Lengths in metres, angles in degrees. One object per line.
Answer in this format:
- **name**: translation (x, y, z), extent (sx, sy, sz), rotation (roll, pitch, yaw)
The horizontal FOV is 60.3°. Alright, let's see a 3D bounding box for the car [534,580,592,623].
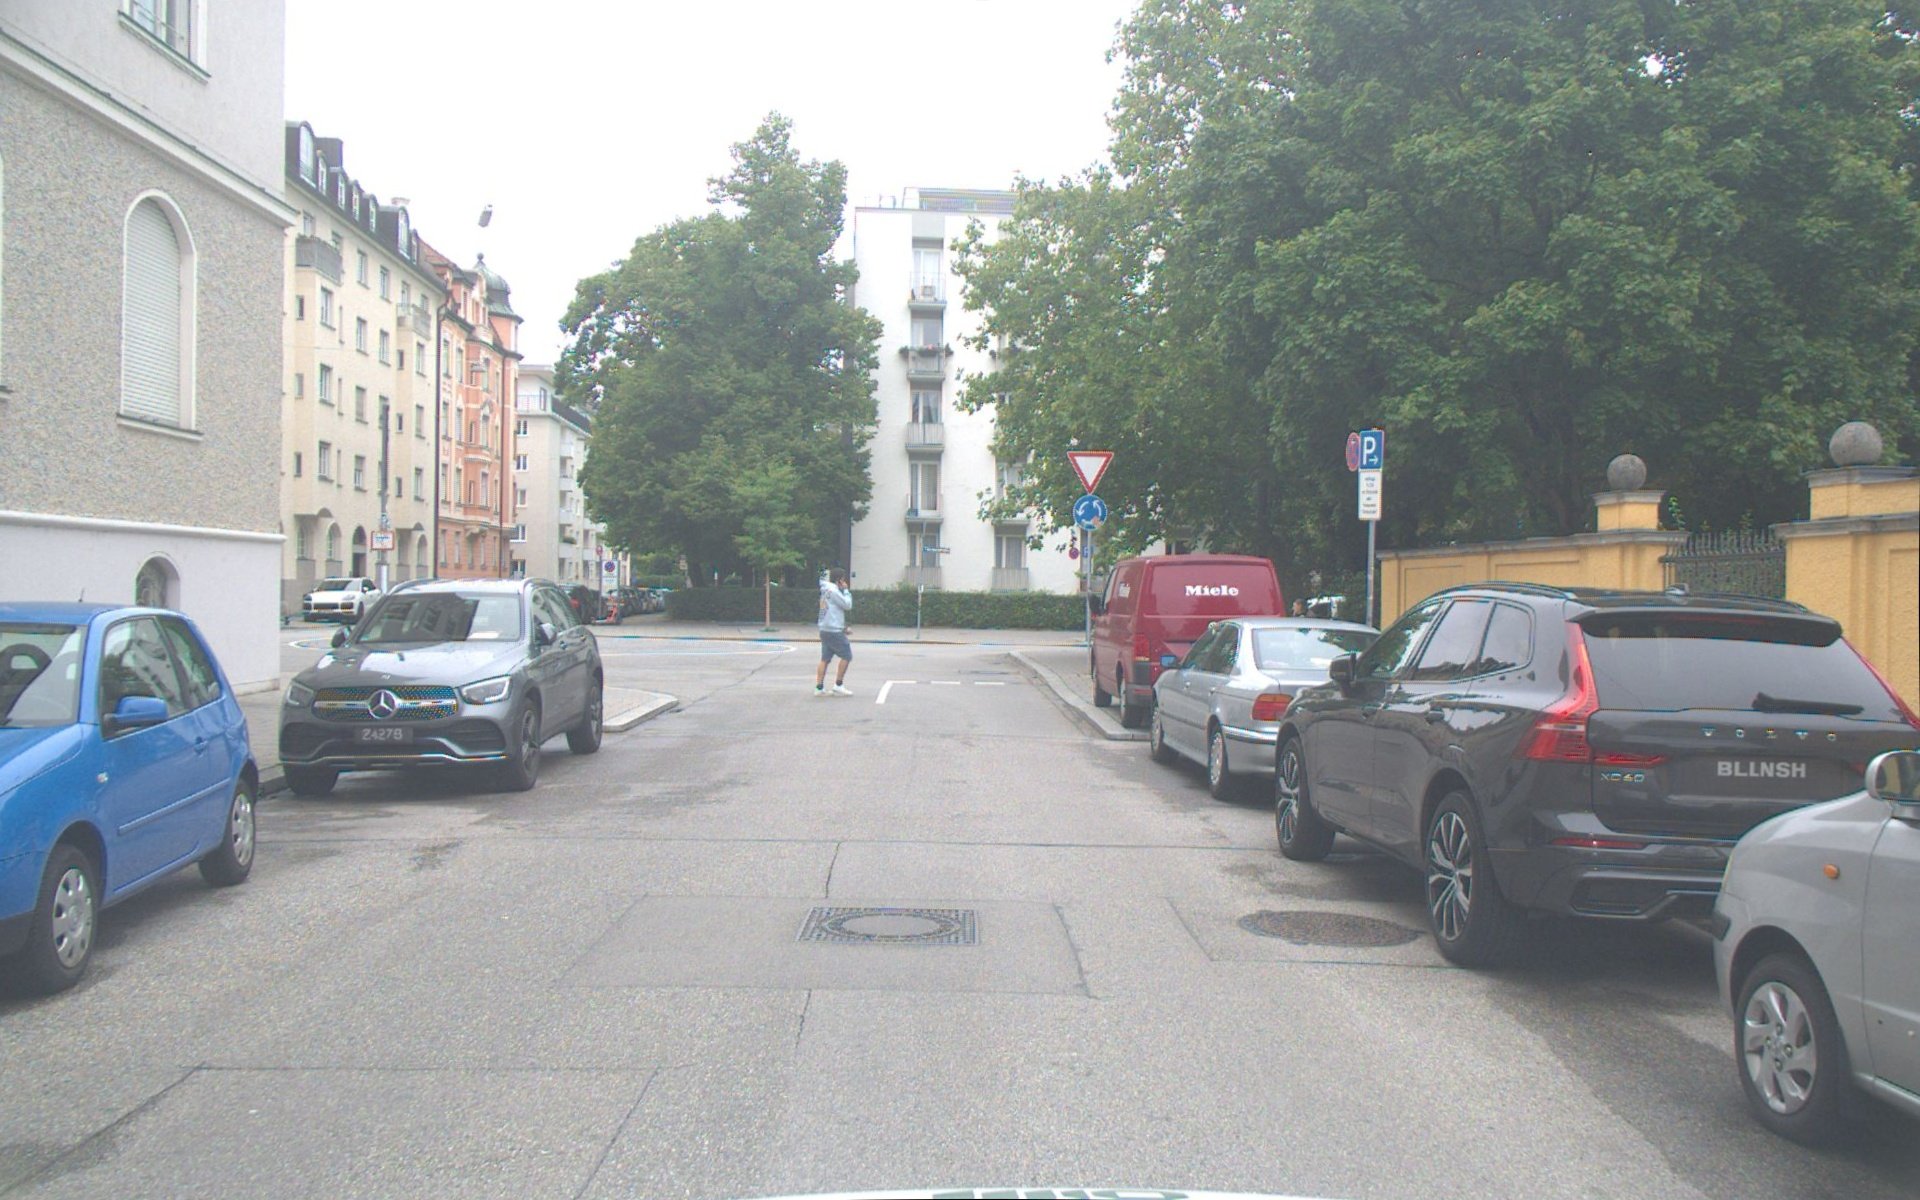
- **car**: translation (-14.852, 0.037, 61.975), extent (1.785, 1.531, 4.412), rotation (0, 0, -9)

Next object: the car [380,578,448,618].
- **car**: translation (-23.734, -0.099, 72.003), extent (1.938, 1.644, 4.704), rotation (1, 0, -8)

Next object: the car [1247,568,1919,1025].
- **car**: translation (3.002, 0.746, 8.727), extent (1.847, 1.681, 4.821), rotation (3, 0, -3)

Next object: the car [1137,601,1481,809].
- **car**: translation (2.909, 0.809, 14.823), extent (1.847, 1.474, 4.365), rotation (3, 0, -4)

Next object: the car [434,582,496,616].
- **car**: translation (-24.508, -0.078, 82.018), extent (1.936, 1.608, 4.405), rotation (1, 0, -3)

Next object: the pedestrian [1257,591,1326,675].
- **pedestrian**: translation (5.538, 0.544, 27.663), extent (0.988, 1.361, 0.877), rotation (1, 0, 2)

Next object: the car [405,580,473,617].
- **car**: translation (-24.158, -0.082, 76.865), extent (1.936, 1.608, 4.405), rotation (1, 0, -3)

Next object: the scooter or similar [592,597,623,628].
- **scooter or similar**: translation (-12.660, 0.449, 59.416), extent (0.989, 1.107, 0.386), rotation (1, 0, -33)

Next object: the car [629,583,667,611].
- **car**: translation (-19.359, -0.204, 102.722), extent (1.798, 1.663, 3.818), rotation (0, 0, -2)

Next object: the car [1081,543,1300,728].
- **car**: translation (2.704, 0.378, 20.551), extent (1.836, 1.954, 4.886), rotation (2, 0, -2)

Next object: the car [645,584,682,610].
- **car**: translation (-19.317, -0.188, 107.809), extent (1.798, 1.663, 3.818), rotation (0, 0, -2)

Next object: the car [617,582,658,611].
- **car**: translation (-19.202, -0.219, 98.682), extent (1.798, 1.663, 3.818), rotation (0, 0, -2)

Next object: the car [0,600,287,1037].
- **car**: translation (-4.277, 0.733, 7.183), extent (1.660, 1.439, 3.656), rotation (0, 0, -8)

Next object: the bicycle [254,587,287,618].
- **bicycle**: translation (-24.564, 0.078, 58.967), extent (0.552, 1.067, 1.828), rotation (1, 0, -5)

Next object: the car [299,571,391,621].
- **car**: translation (-22.771, -0.148, 61.446), extent (1.937, 1.730, 4.835), rotation (1, 0, -5)

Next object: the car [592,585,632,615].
- **car**: translation (-18.581, -0.006, 88.428), extent (1.800, 1.531, 4.108), rotation (0, 0, -8)

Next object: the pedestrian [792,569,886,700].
- **pedestrian**: translation (-1.722, 0.473, 23.488), extent (1.038, 1.802, 0.867), rotation (1, 0, -32)

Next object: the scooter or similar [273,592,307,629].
- **scooter or similar**: translation (-22.794, 0.365, 56.266), extent (1.190, 1.214, 0.466), rotation (1, 0, 35)

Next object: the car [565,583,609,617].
- **car**: translation (-17.420, -0.001, 77.384), extent (1.760, 1.531, 4.106), rotation (0, 0, -9)

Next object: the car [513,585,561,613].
- **car**: translation (-25.647, -0.076, 100.483), extent (1.936, 1.608, 4.405), rotation (1, 0, -3)

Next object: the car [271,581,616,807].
- **car**: translation (-4.235, 0.670, 14.324), extent (1.711, 1.630, 4.495), rotation (0, 0, -2)

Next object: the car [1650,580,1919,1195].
- **car**: translation (3.226, 0.770, 3.850), extent (1.455, 1.566, 3.690), rotation (3, 0, -4)

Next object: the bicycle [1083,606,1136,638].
- **bicycle**: translation (5.244, 0.774, 58.079), extent (1.794, 1.067, 0.490), rotation (1, 0, -16)
